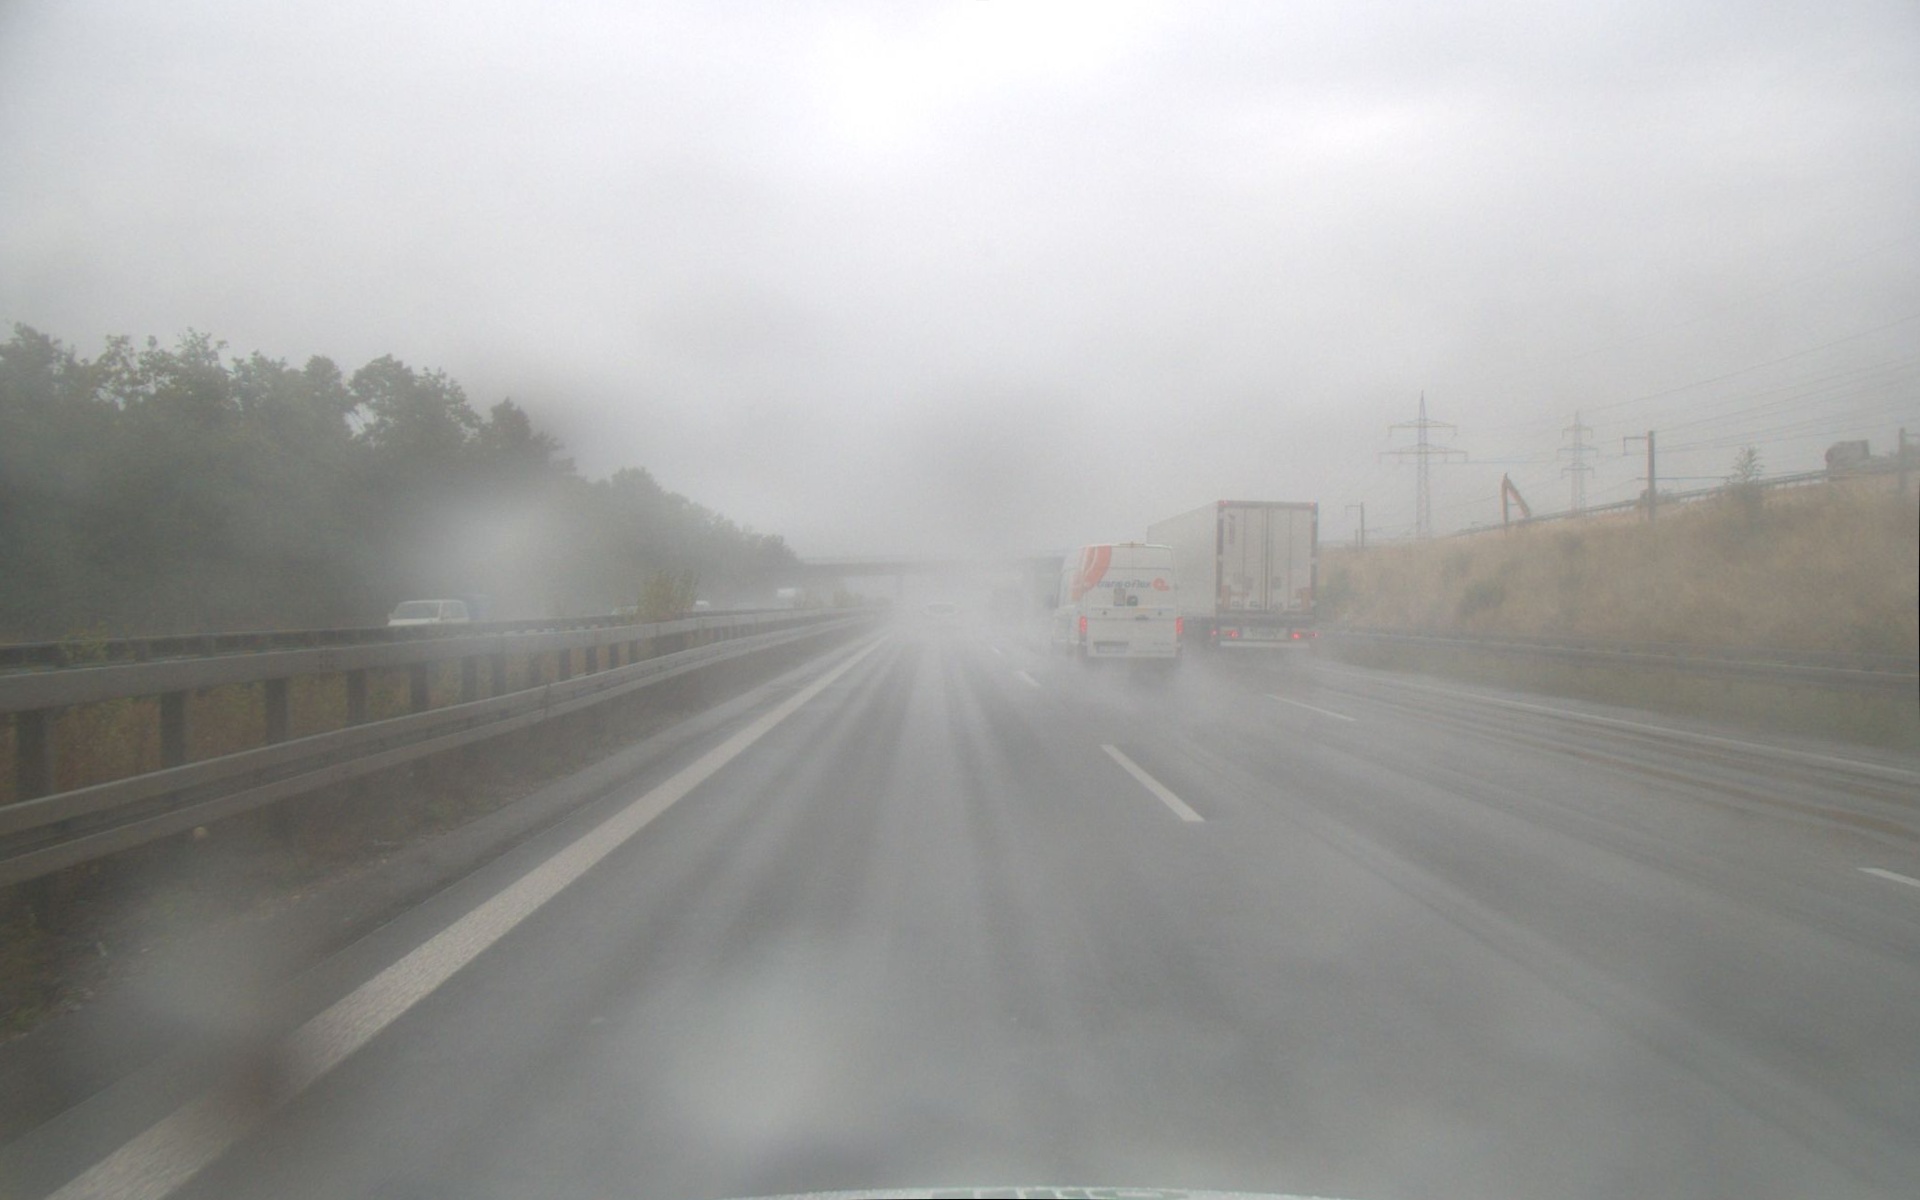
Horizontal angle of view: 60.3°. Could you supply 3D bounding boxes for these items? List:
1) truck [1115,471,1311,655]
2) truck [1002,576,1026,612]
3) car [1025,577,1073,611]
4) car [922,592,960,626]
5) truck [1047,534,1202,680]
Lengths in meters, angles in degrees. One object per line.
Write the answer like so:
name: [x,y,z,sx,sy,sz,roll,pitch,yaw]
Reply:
truck: [7.260,-0.971,50.533,2.978,4.668,16.345,1,0,-2]
truck: [5.461,-0.658,167.879,2.066,3.577,5.246,1,1,-2]
car: [5.720,-0.430,106.772,2.731,2.048,4.992,1,1,-1]
car: [-0.840,0.383,72.151,1.573,1.361,3.848,1,1,-1]
truck: [3.051,0.072,31.982,2.370,2.536,5.560,1,1,0]
